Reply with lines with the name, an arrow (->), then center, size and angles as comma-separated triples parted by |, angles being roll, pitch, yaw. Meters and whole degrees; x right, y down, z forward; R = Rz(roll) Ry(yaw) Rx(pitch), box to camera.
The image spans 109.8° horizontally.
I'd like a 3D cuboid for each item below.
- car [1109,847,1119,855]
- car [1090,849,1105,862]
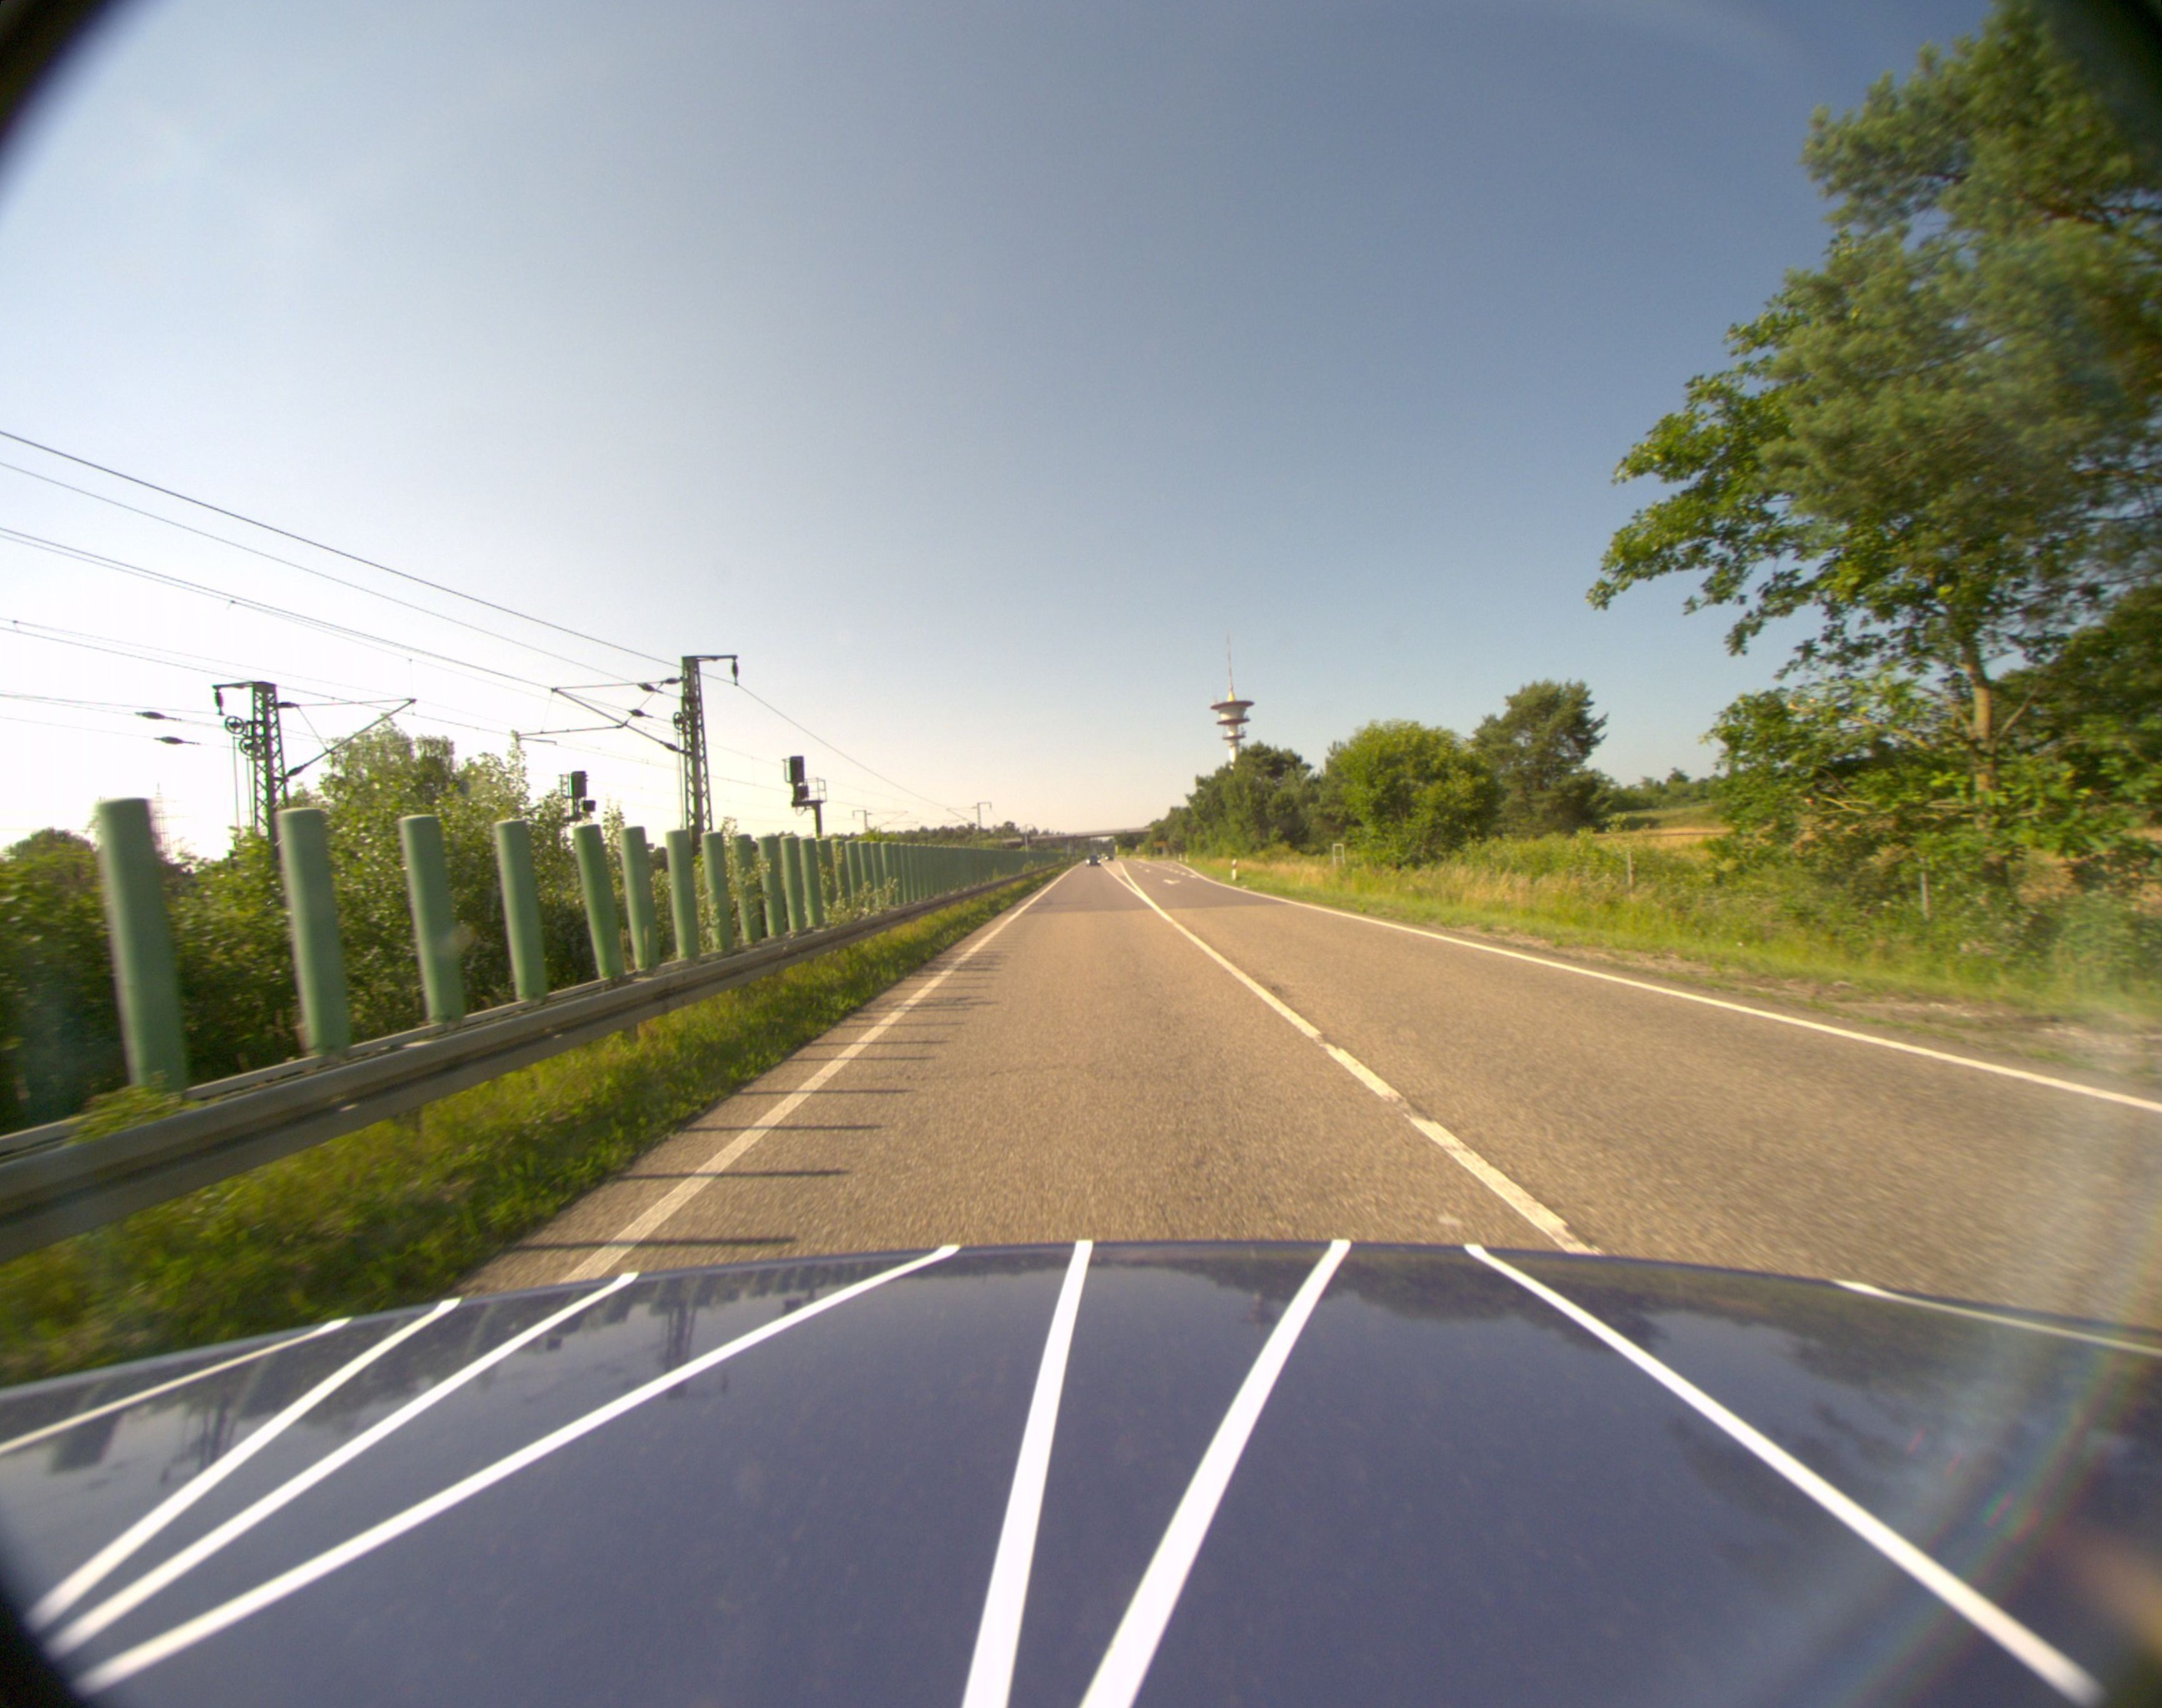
car -> 7.342, -0.694, 169.379 | 1.998, 1.533, 4.332 | -2, 0, 3
car -> 2.124, 0.158, 97.570 | 1.868, 1.533, 4.076 | -2, 1, 2
